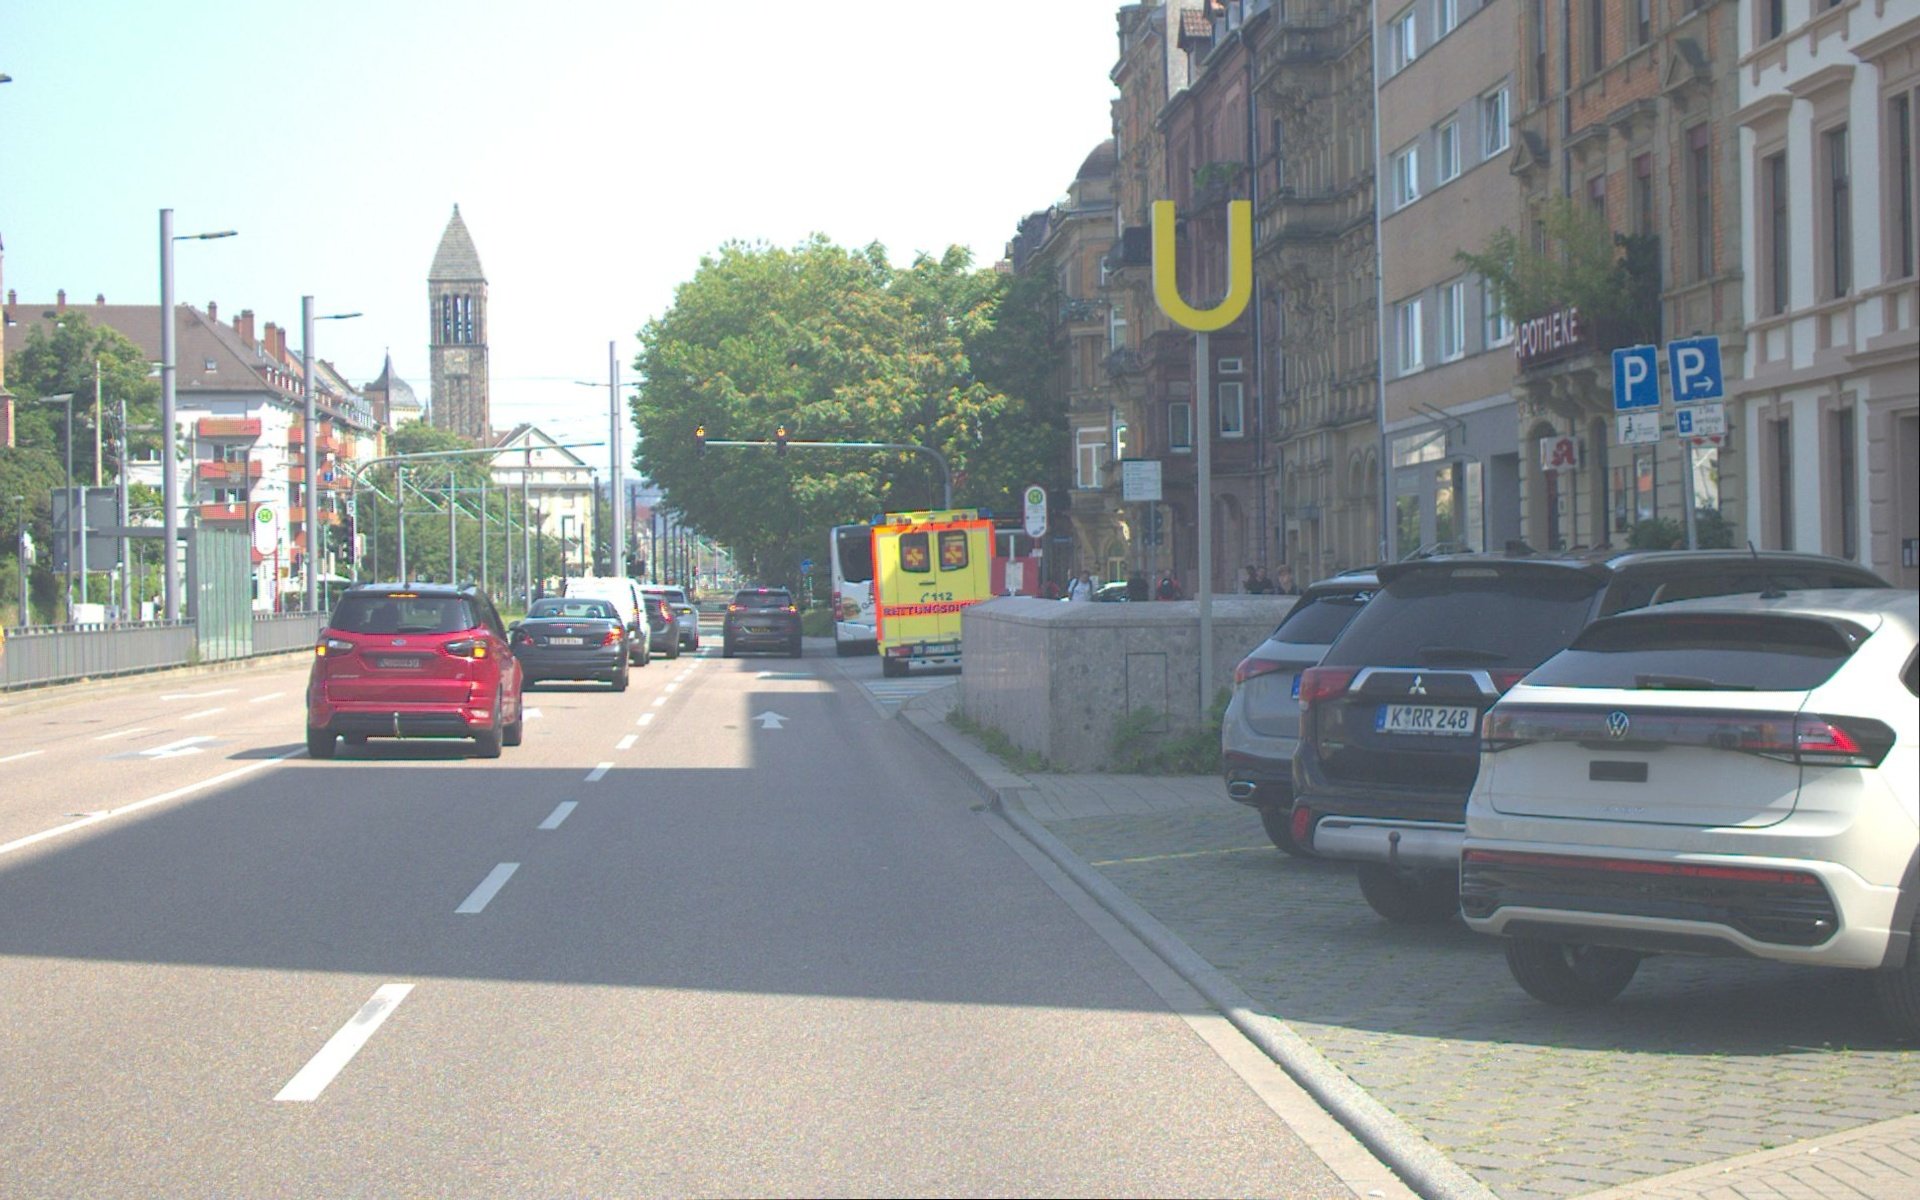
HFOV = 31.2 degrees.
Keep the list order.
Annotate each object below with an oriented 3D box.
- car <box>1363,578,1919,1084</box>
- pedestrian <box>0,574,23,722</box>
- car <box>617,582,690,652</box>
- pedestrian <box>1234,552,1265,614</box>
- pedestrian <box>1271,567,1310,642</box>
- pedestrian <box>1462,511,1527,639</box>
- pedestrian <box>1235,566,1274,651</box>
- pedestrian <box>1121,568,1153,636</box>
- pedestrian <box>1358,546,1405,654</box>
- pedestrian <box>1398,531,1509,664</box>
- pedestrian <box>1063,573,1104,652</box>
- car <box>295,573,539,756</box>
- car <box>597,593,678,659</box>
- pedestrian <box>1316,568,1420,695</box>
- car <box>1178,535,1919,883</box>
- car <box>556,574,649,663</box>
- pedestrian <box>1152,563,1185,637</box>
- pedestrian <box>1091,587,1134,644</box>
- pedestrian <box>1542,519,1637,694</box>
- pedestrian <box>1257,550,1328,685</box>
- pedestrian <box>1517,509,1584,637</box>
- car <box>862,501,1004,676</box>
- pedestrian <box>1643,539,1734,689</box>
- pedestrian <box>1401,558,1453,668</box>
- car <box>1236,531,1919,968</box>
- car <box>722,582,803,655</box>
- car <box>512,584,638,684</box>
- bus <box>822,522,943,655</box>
[{"bbox_3d":[3.387,0.712,12.365,3.775,1.495,1.806,1,1,-43],"label":"car"},{"bbox_3d":[-11.689,0.578,41.054,0.761,1.746,1.069,-1,-1,-5],"label":"pedestrian"},{"bbox_3d":[-7.755,0.441,87.157,1.790,1.692,4.000,-1,-1,-5],"label":"car"},{"bbox_3d":[7.457,-0.445,88.444,0.622,1.588,0.696,-1,0,-9],"label":"pedestrian"},{"bbox_3d":[6.579,0.087,68.503,0.643,1.488,0.789,-1,0,-4],"label":"pedestrian"},{"bbox_3d":[7.508,-0.354,48.302,0.684,1.768,1.018,-1,1,-4],"label":"pedestrian"},{"bbox_3d":[5.861,0.163,68.472,0.643,1.679,0.789,-1,0,-4],"label":"pedestrian"},{"bbox_3d":[4.376,0.042,84.930,0.697,1.661,1.064,-1,0,-1],"label":"pedestrian"},{"bbox_3d":[7.011,-0.002,57.190,0.577,1.744,0.679,-3,0,-3],"label":"pedestrian"},{"bbox_3d":[5.915,-0.029,41.196,0.850,1.576,0.971,-1,0,-36],"label":"pedestrian"},{"bbox_3d":[2.594,0.263,72.175,0.697,1.661,0.602,-1,0,23],"label":"pedestrian"},{"bbox_3d":[-5.116,0.564,32.860,1.762,1.612,4.083,-1,0,-2],"label":"car"},{"bbox_3d":[-7.353,0.598,78.672,1.790,1.467,4.000,-1,-1,-5],"label":"car"},{"bbox_3d":[5.145,0.396,43.382,0.850,1.576,0.971,-1,0,-36],"label":"pedestrian"},{"bbox_3d":[3.556,0.515,19.488,4.653,1.708,2.042,-2,1,-45],"label":"car"},{"bbox_3d":[-7.352,0.390,70.971,1.790,1.774,4.000,-1,-1,-5],"label":"car"},{"bbox_3d":[4.708,0.007,77.678,0.697,1.661,0.603,-1,0,-1],"label":"pedestrian"},{"bbox_3d":[4.955,0.497,112.031,1.249,1.746,1.526,-1,2,-2],"label":"pedestrian"},{"bbox_3d":[6.166,0.061,33.717,0.670,1.679,0.943,-1,0,-3],"label":"pedestrian"},{"bbox_3d":[4.416,0.222,45.703,0.850,1.723,0.971,-2,2,3],"label":"pedestrian"},{"bbox_3d":[8.287,-0.387,48.259,0.684,1.768,1.018,-1,1,-4],"label":"pedestrian"},{"bbox_3d":[-0.433,-0.223,60.632,2.299,2.878,5.599,-2,1,1],"label":"car"},{"bbox_3d":[9.140,0.173,43.152,0.840,1.840,0.686,-3,0,-12],"label":"pedestrian"},{"bbox_3d":[7.766,0.219,57.215,0.599,1.789,0.880,-3,0,-3],"label":"pedestrian"},{"bbox_3d":[3.444,0.548,15.547,4.381,1.682,1.985,-1,1,-45],"label":"car"},{"bbox_3d":[-4.658,0.444,80.713,1.790,1.672,4.000,-1,-1,-5],"label":"car"},{"bbox_3d":[-5.837,0.489,52.433,1.790,1.427,4.001,-1,1,-5],"label":"car"},{"bbox_3d":[-2.033,-0.278,85.288,2.533,3.021,12.437,-1,0,-3],"label":"bus"}]
